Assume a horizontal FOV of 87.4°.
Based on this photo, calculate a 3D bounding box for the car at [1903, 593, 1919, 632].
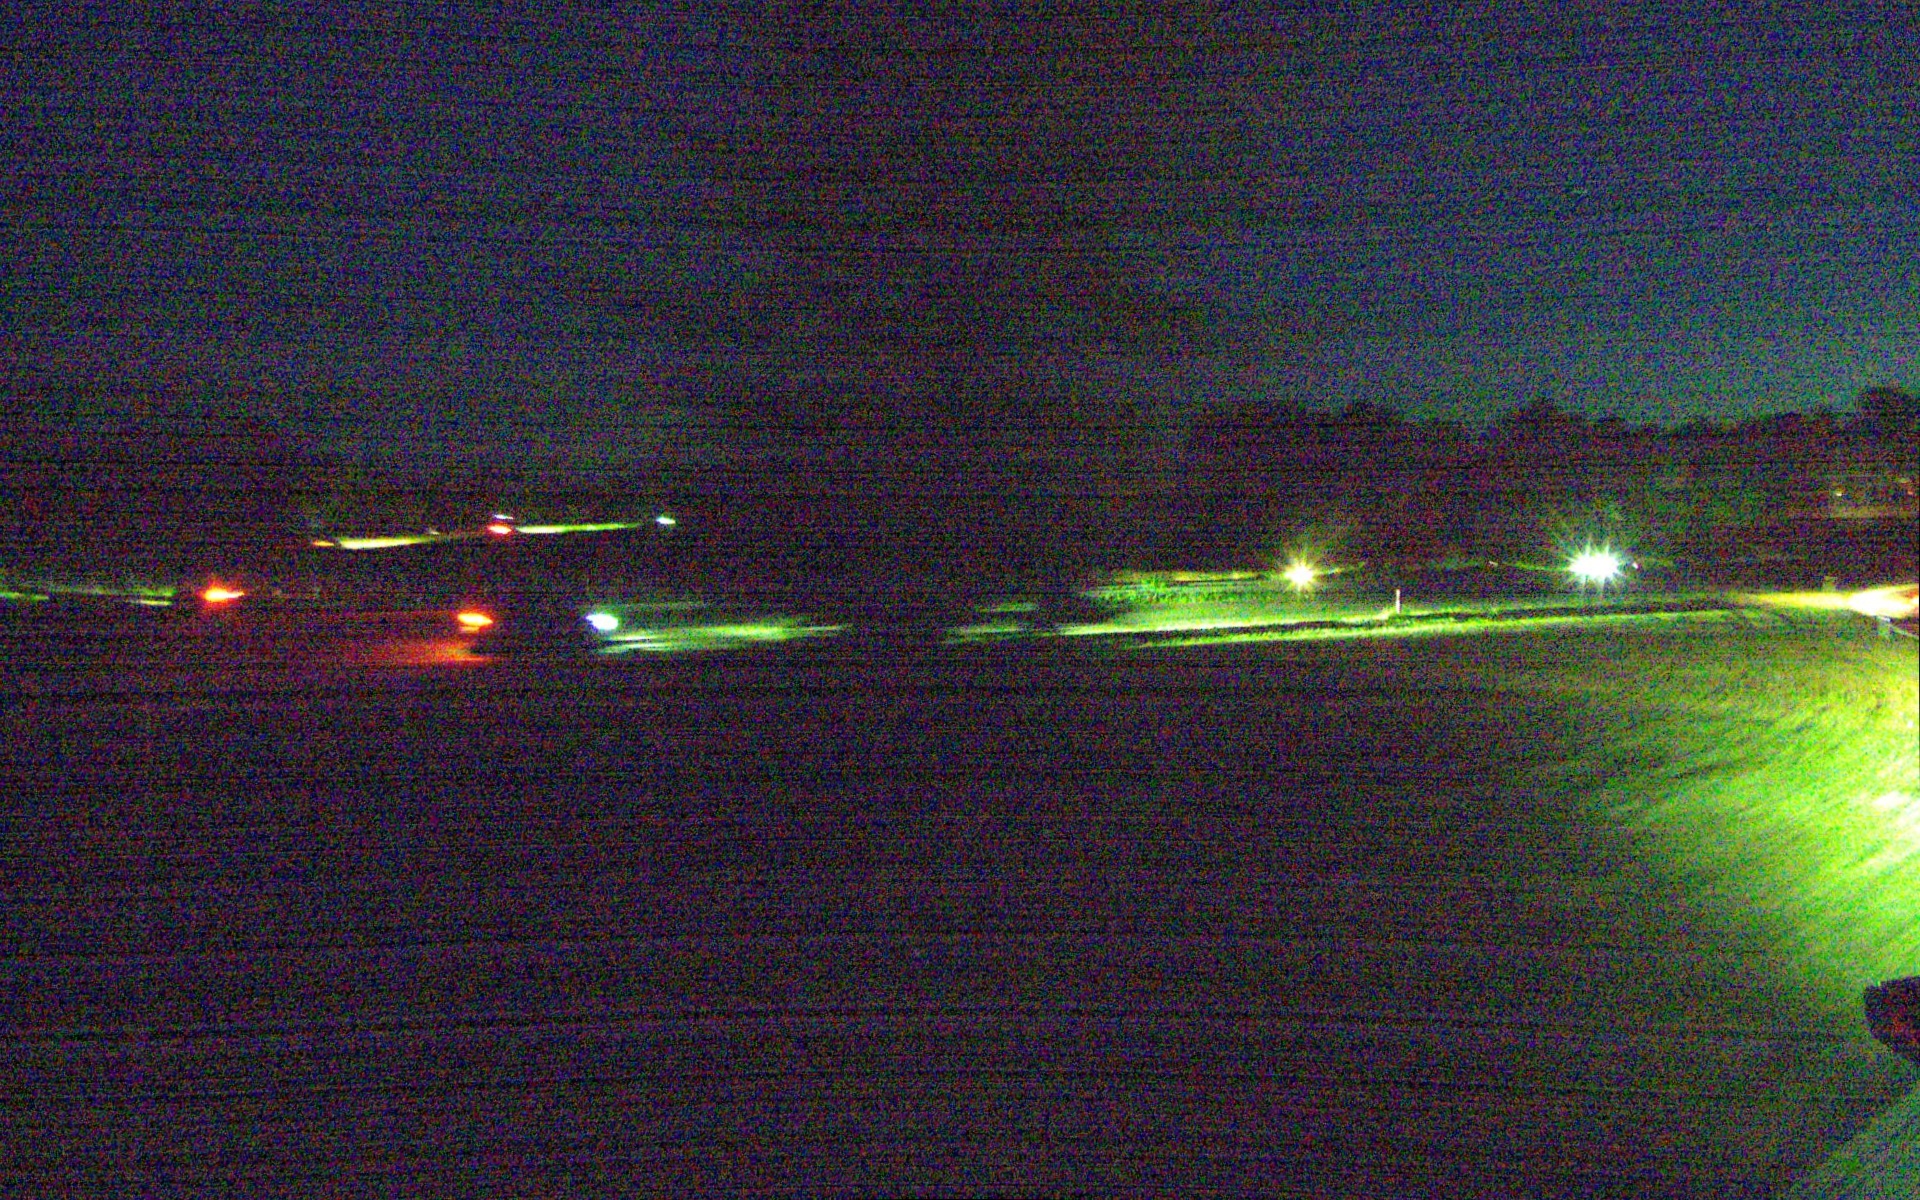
[{"bbox_3d":[41.295,0.497,42.282,1.927,1.558,4.223,-1,0,38],"label":"car"}]

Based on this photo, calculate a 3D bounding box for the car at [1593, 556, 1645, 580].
[{"bbox_3d":[54.145,-2.648,82.522,3.947,1.912,1.804,-2,2,-26],"label":"car"}]

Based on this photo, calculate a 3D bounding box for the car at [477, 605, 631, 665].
[{"bbox_3d":[-13.464,1.113,33.395,4.581,1.630,1.933,-2,5,-26],"label":"car"}]

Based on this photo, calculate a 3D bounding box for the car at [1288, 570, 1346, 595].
[{"bbox_3d":[26.132,-1.292,73.539,3.947,1.781,1.776,-2,2,-26],"label":"car"}]

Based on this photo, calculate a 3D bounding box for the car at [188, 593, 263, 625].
[{"bbox_3d":[-42.764,0.482,58.488,3.924,1.808,1.875,0,1,25],"label":"car"}]
